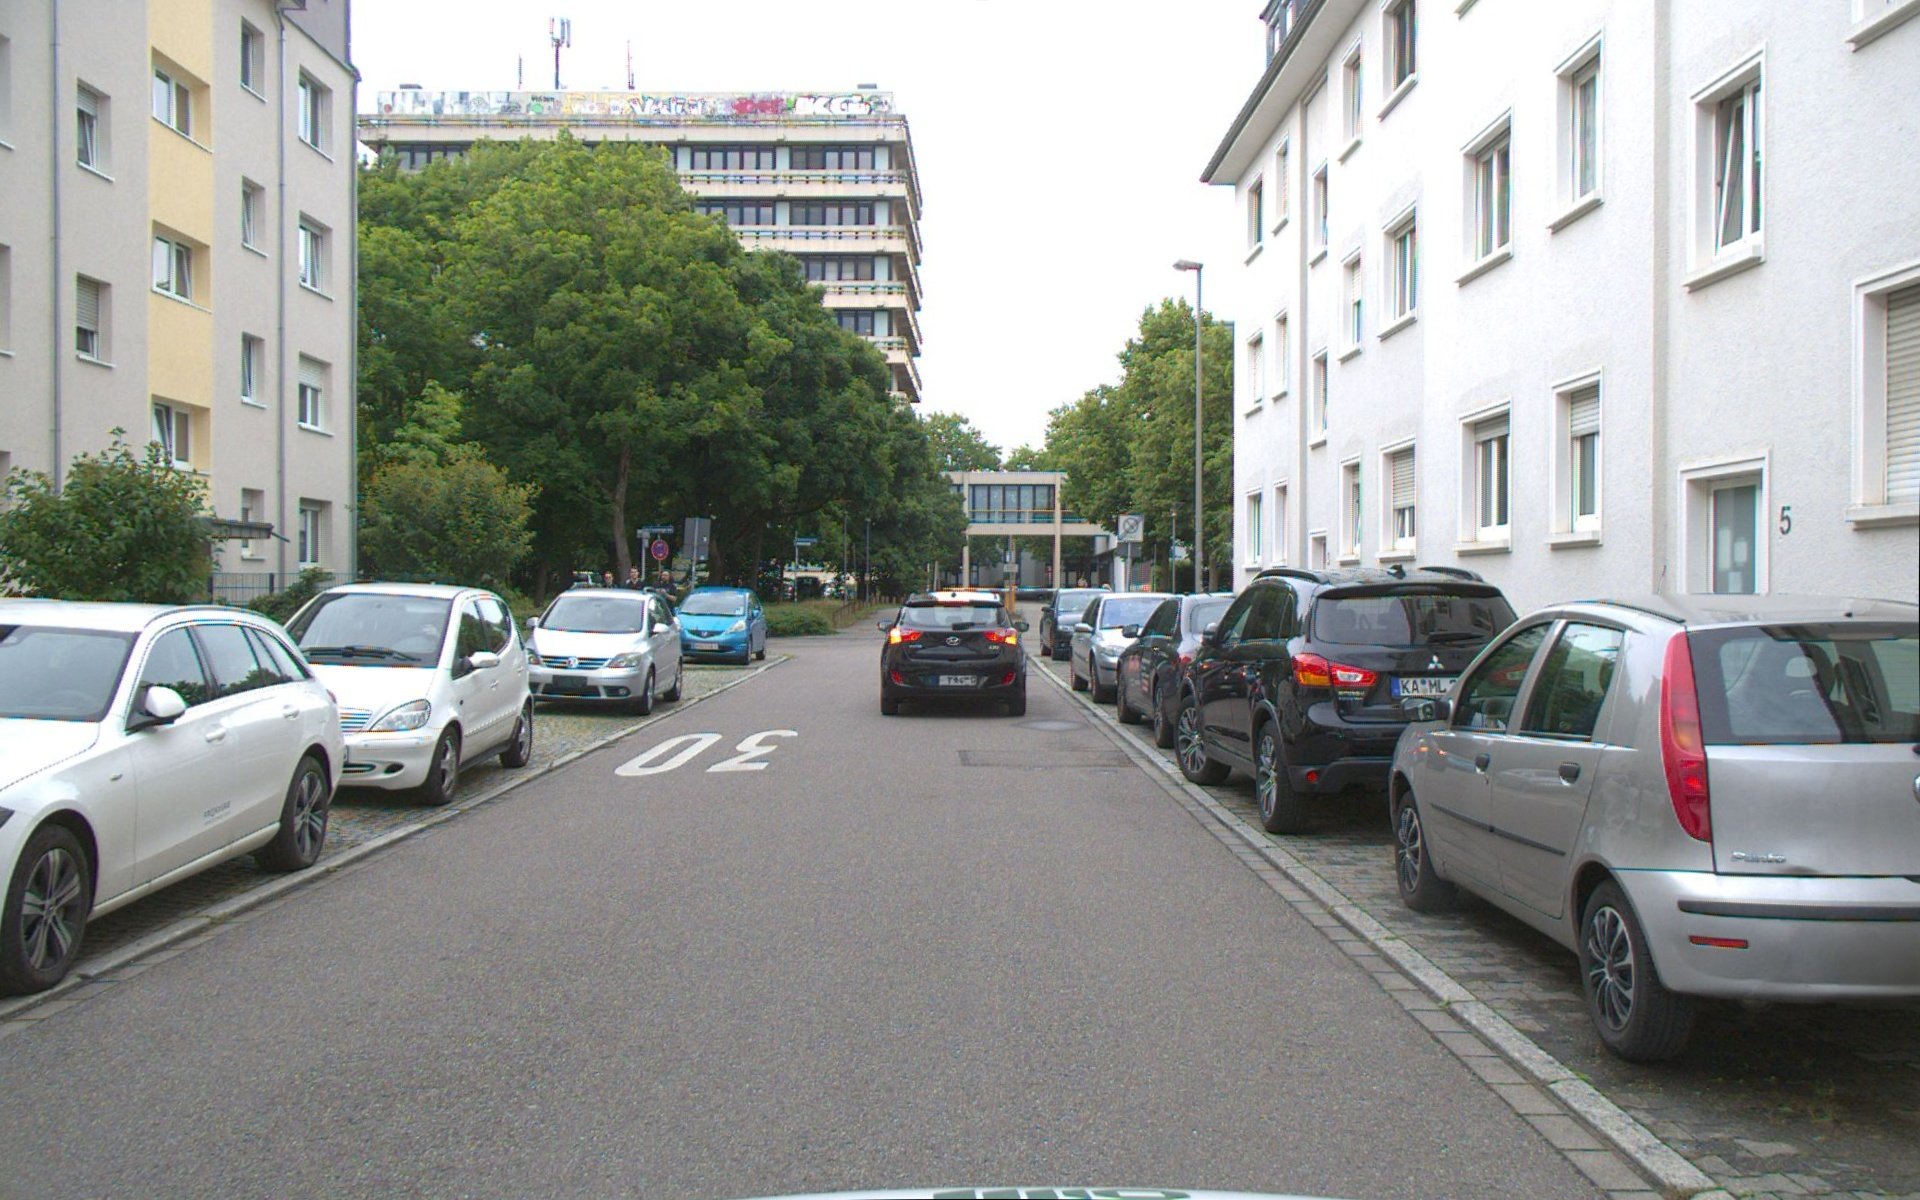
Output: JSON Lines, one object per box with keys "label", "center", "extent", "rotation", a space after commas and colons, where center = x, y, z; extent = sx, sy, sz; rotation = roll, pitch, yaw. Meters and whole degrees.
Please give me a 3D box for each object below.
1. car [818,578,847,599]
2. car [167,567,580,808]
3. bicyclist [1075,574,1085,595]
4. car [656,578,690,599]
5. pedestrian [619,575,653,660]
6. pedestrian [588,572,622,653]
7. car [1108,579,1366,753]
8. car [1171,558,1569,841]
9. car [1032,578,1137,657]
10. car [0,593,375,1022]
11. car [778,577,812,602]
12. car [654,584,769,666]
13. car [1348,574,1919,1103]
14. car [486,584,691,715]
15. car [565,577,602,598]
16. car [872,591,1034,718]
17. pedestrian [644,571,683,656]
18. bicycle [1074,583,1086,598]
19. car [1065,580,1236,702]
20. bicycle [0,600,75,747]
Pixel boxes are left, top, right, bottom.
{"label": "car", "center": [-8.166, -0.756, 106.195], "extent": [1.632, 1.356, 3.395], "rotation": [0, 1, -1]}
{"label": "car", "center": [-4.666, 0.603, 13.965], "extent": [1.856, 1.626, 4.520], "rotation": [2, 0, -1]}
{"label": "bicyclist", "center": [8.519, -1.102, 117.221], "extent": [0.679, 1.469, 0.795], "rotation": [0, 1, 0]}
{"label": "car", "center": [-18.407, -0.755, 106.184], "extent": [1.632, 1.356, 3.395], "rotation": [0, 1, -1]}
{"label": "pedestrian", "center": [-7.180, 0.370, 36.703], "extent": [0.592, 1.863, 0.675], "rotation": [0, 0, 1]}
{"label": "pedestrian", "center": [-7.729, 0.256, 36.024], "extent": [0.588, 1.743, 0.648], "rotation": [0, 0, 1]}
{"label": "car", "center": [2.661, 0.563, 16.985], "extent": [1.783, 1.546, 4.672], "rotation": [0, 0, -1]}
{"label": "car", "center": [2.618, 0.554, 11.558], "extent": [1.783, 1.631, 4.091], "rotation": [0, 0, 0]}
{"label": "car", "center": [2.579, 0.316, 35.143], "extent": [1.783, 1.546, 4.673], "rotation": [-1, 1, -1]}
{"label": "car", "center": [-4.464, 0.755, 7.800], "extent": [1.857, 1.477, 4.519], "rotation": [2, 0, -2]}
{"label": "car", "center": [-9.233, -0.593, 92.744], "extent": [1.632, 1.356, 3.395], "rotation": [0, 1, -1]}
{"label": "car", "center": [-5.116, 0.474, 34.479], "extent": [1.954, 1.568, 3.998], "rotation": [1, 0, -3]}
{"label": "car", "center": [2.973, 0.667, 6.843], "extent": [1.783, 1.529, 4.091], "rotation": [0, 1, 0]}
{"label": "car", "center": [-4.878, 0.592, 22.270], "extent": [1.953, 1.568, 3.999], "rotation": [1, 0, -2]}
{"label": "car", "center": [-24.215, -0.812, 106.449], "extent": [1.632, 1.356, 3.395], "rotation": [0, 1, -1]}
{"label": "car", "center": [-0.078, 0.615, 21.156], "extent": [1.864, 1.458, 4.233], "rotation": [0, 0, 0]}
{"label": "pedestrian", "center": [-6.529, 0.291, 36.481], "extent": [0.699, 1.863, 0.797], "rotation": [0, 0, 1]}
{"label": "bicycle", "center": [8.506, -0.660, 117.192], "extent": [0.678, 1.014, 1.735], "rotation": [0, 1, 0]}
{"label": "car", "center": [2.556, 0.496, 23.240], "extent": [1.783, 1.546, 4.672], "rotation": [0, 0, -1]}
{"label": "bicycle", "center": [-8.504, 0.629, 14.199], "extent": [0.716, 1.232, 2.090], "rotation": [1, 1, -1]}
